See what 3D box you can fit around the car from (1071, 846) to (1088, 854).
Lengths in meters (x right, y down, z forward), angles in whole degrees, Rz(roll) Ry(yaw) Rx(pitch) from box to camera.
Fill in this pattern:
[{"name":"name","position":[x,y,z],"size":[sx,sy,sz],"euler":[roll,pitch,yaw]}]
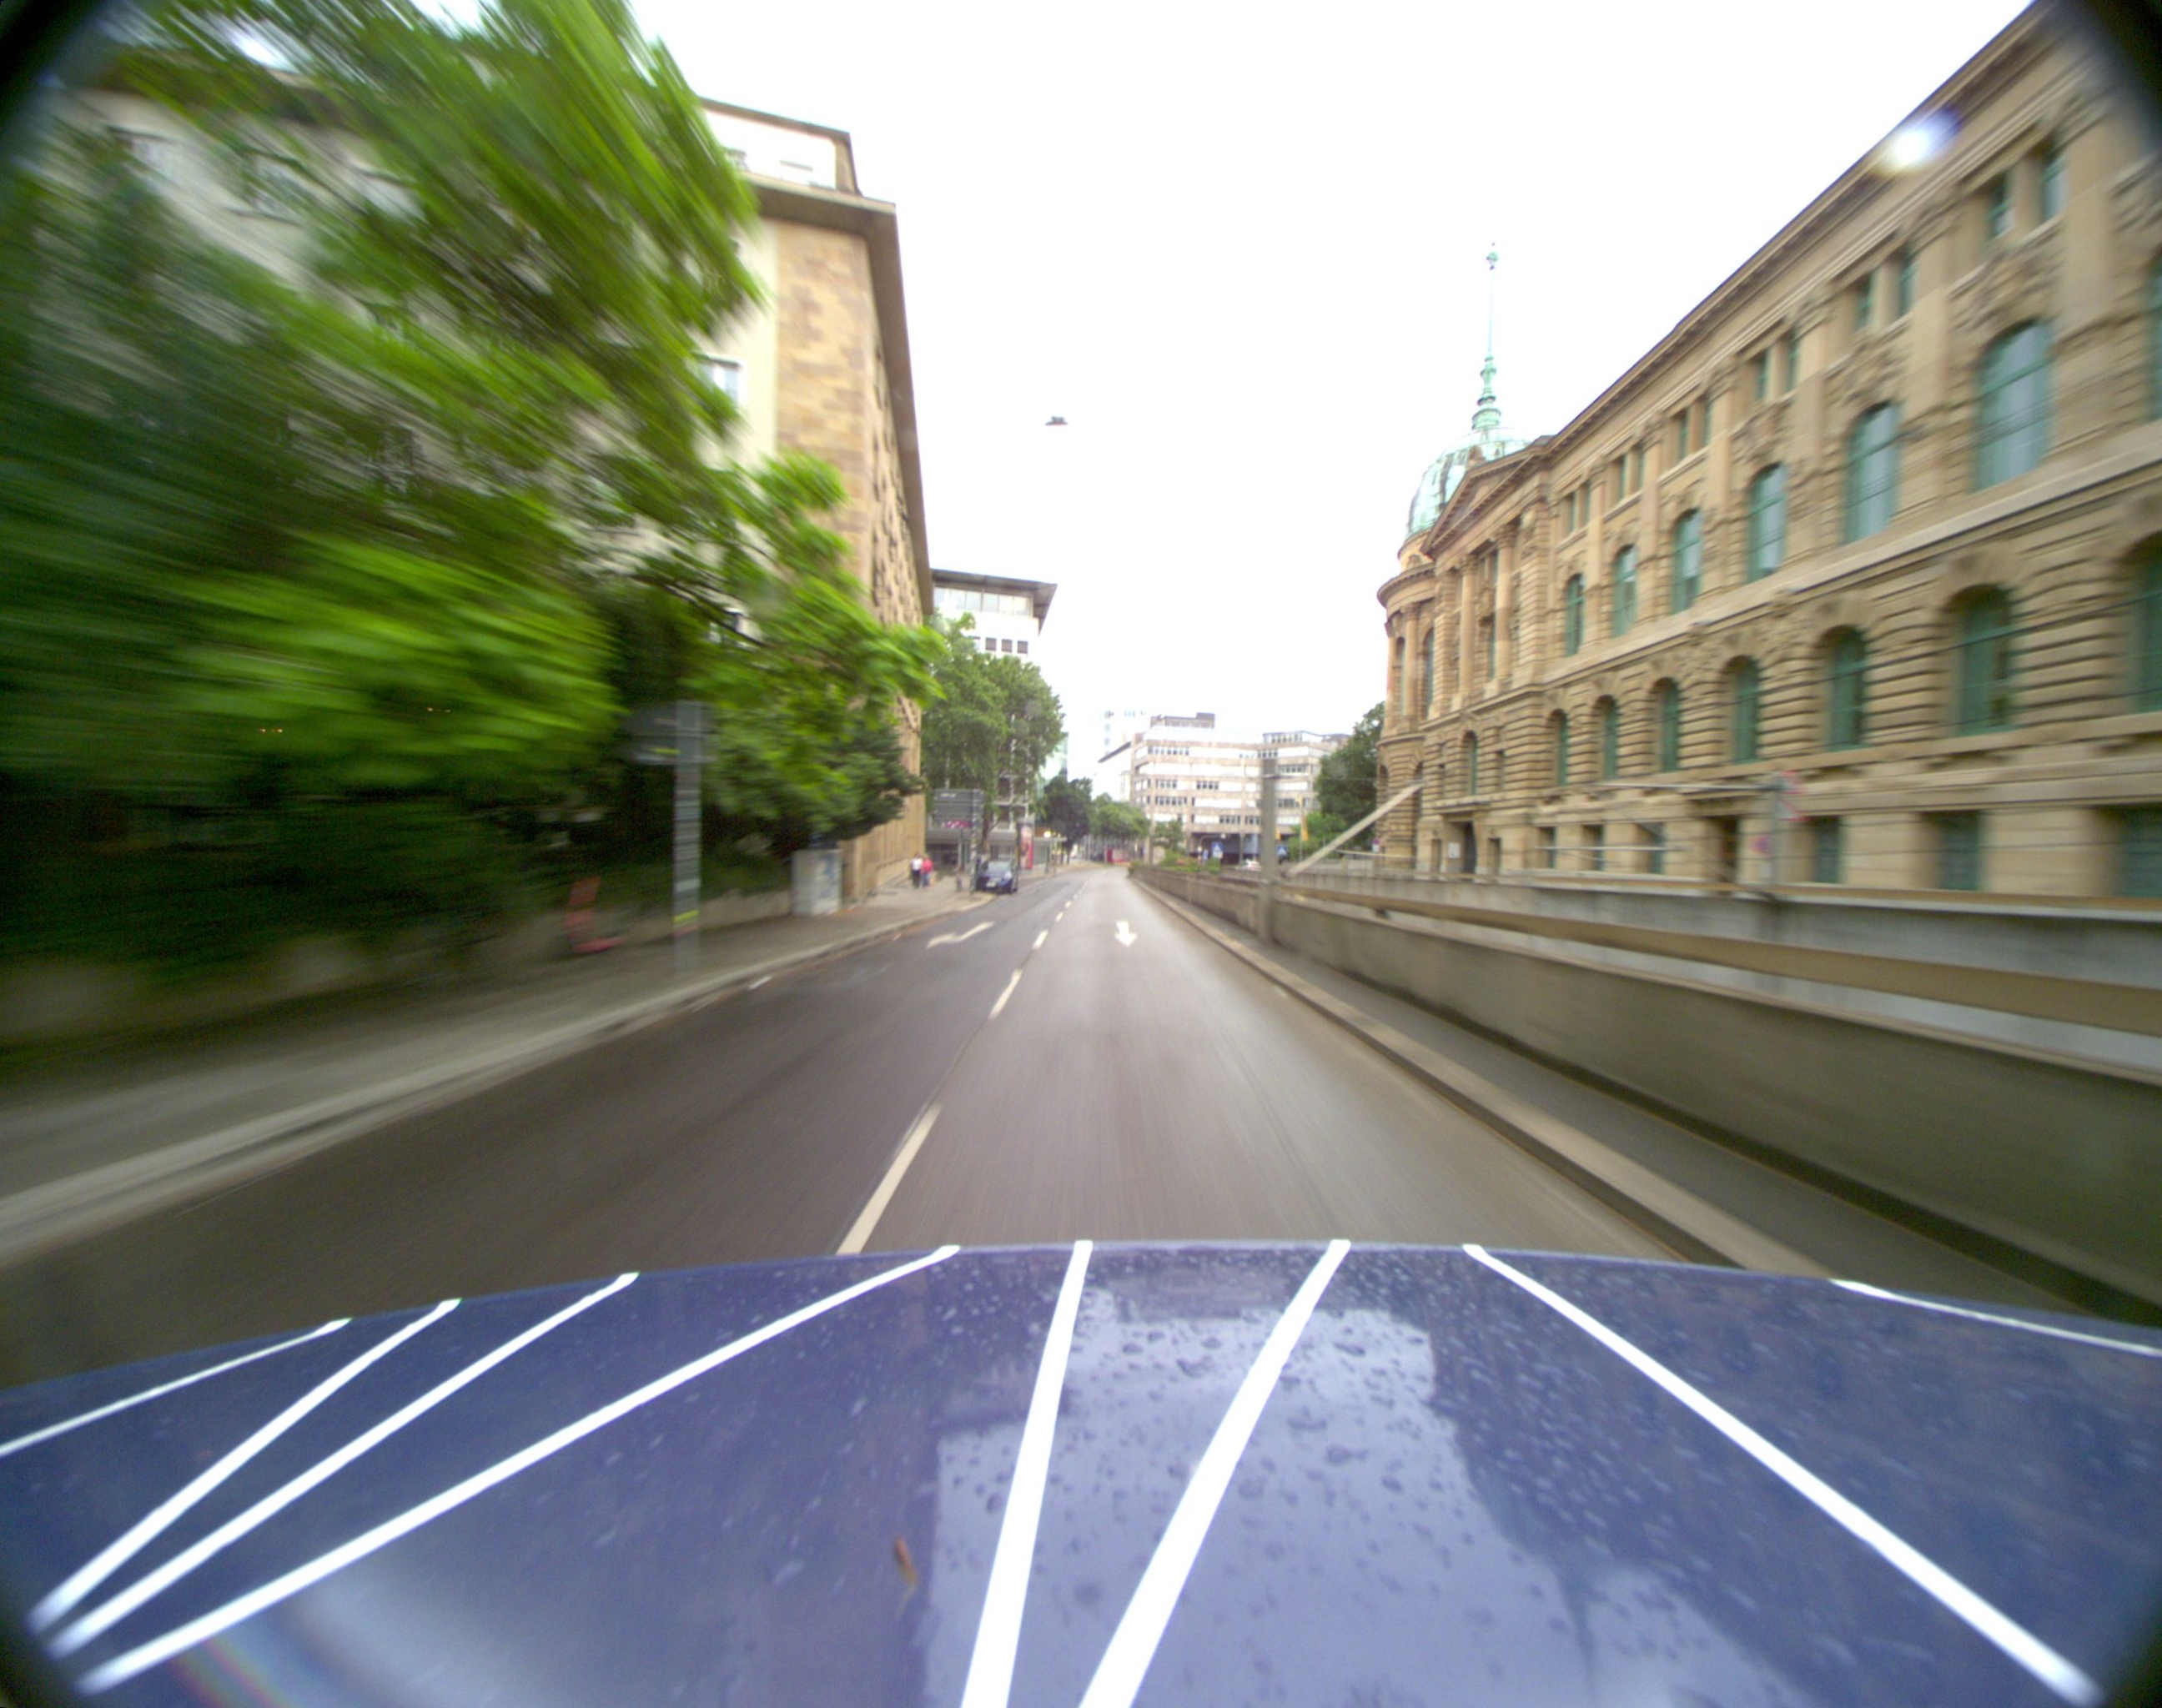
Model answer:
[{"name":"car","position":[-0.409,-1.064,193.339],"size":[3.776,1.641,1.796],"euler":[3,0,-22]}]

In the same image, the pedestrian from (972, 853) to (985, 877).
[{"name":"pedestrian","position":[-7.666,0.828,56.809],"size":[0.781,1.761,0.863],"euler":[1,0,3]}]

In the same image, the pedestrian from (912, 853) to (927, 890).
[{"name":"pedestrian","position":[-7.109,0.748,33.415],"size":[0.526,1.593,0.672],"euler":[1,1,-21]}]

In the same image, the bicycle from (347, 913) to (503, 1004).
[{"name":"bicycle","position":[-6.751,1.047,7.890],"size":[0.501,0.750,1.211],"euler":[5,0,1]}]

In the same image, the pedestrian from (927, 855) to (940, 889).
[{"name":"pedestrian","position":[-6.542,0.781,33.814],"size":[0.526,1.483,0.673],"euler":[1,1,-9]}]

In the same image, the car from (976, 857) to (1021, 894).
[{"name":"car","position":[-3.975,1.003,37.130],"size":[1.773,1.610,4.157],"euler":[1,1,0]}]

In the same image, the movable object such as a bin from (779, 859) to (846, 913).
[{"name":"movable object such as a bin","position":[-6.994,0.807,19.867],"size":[1.242,1.302,1.234],"euler":[3,0,2]}]

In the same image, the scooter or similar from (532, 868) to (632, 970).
[{"name":"scooter or similar","position":[-6.589,0.821,10.091],"size":[0.448,1.252,1.211],"euler":[3,0,1]}]

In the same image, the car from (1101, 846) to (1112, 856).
[{"name":"car","position":[5.312,-0.665,160.438],"size":[1.999,2.067,3.998],"euler":[0,1,-3]}]

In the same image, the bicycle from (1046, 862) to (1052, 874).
[{"name":"bicycle","position":[-2.782,1.238,66.231],"size":[0.490,1.006,1.927],"euler":[1,0,-1]}]
